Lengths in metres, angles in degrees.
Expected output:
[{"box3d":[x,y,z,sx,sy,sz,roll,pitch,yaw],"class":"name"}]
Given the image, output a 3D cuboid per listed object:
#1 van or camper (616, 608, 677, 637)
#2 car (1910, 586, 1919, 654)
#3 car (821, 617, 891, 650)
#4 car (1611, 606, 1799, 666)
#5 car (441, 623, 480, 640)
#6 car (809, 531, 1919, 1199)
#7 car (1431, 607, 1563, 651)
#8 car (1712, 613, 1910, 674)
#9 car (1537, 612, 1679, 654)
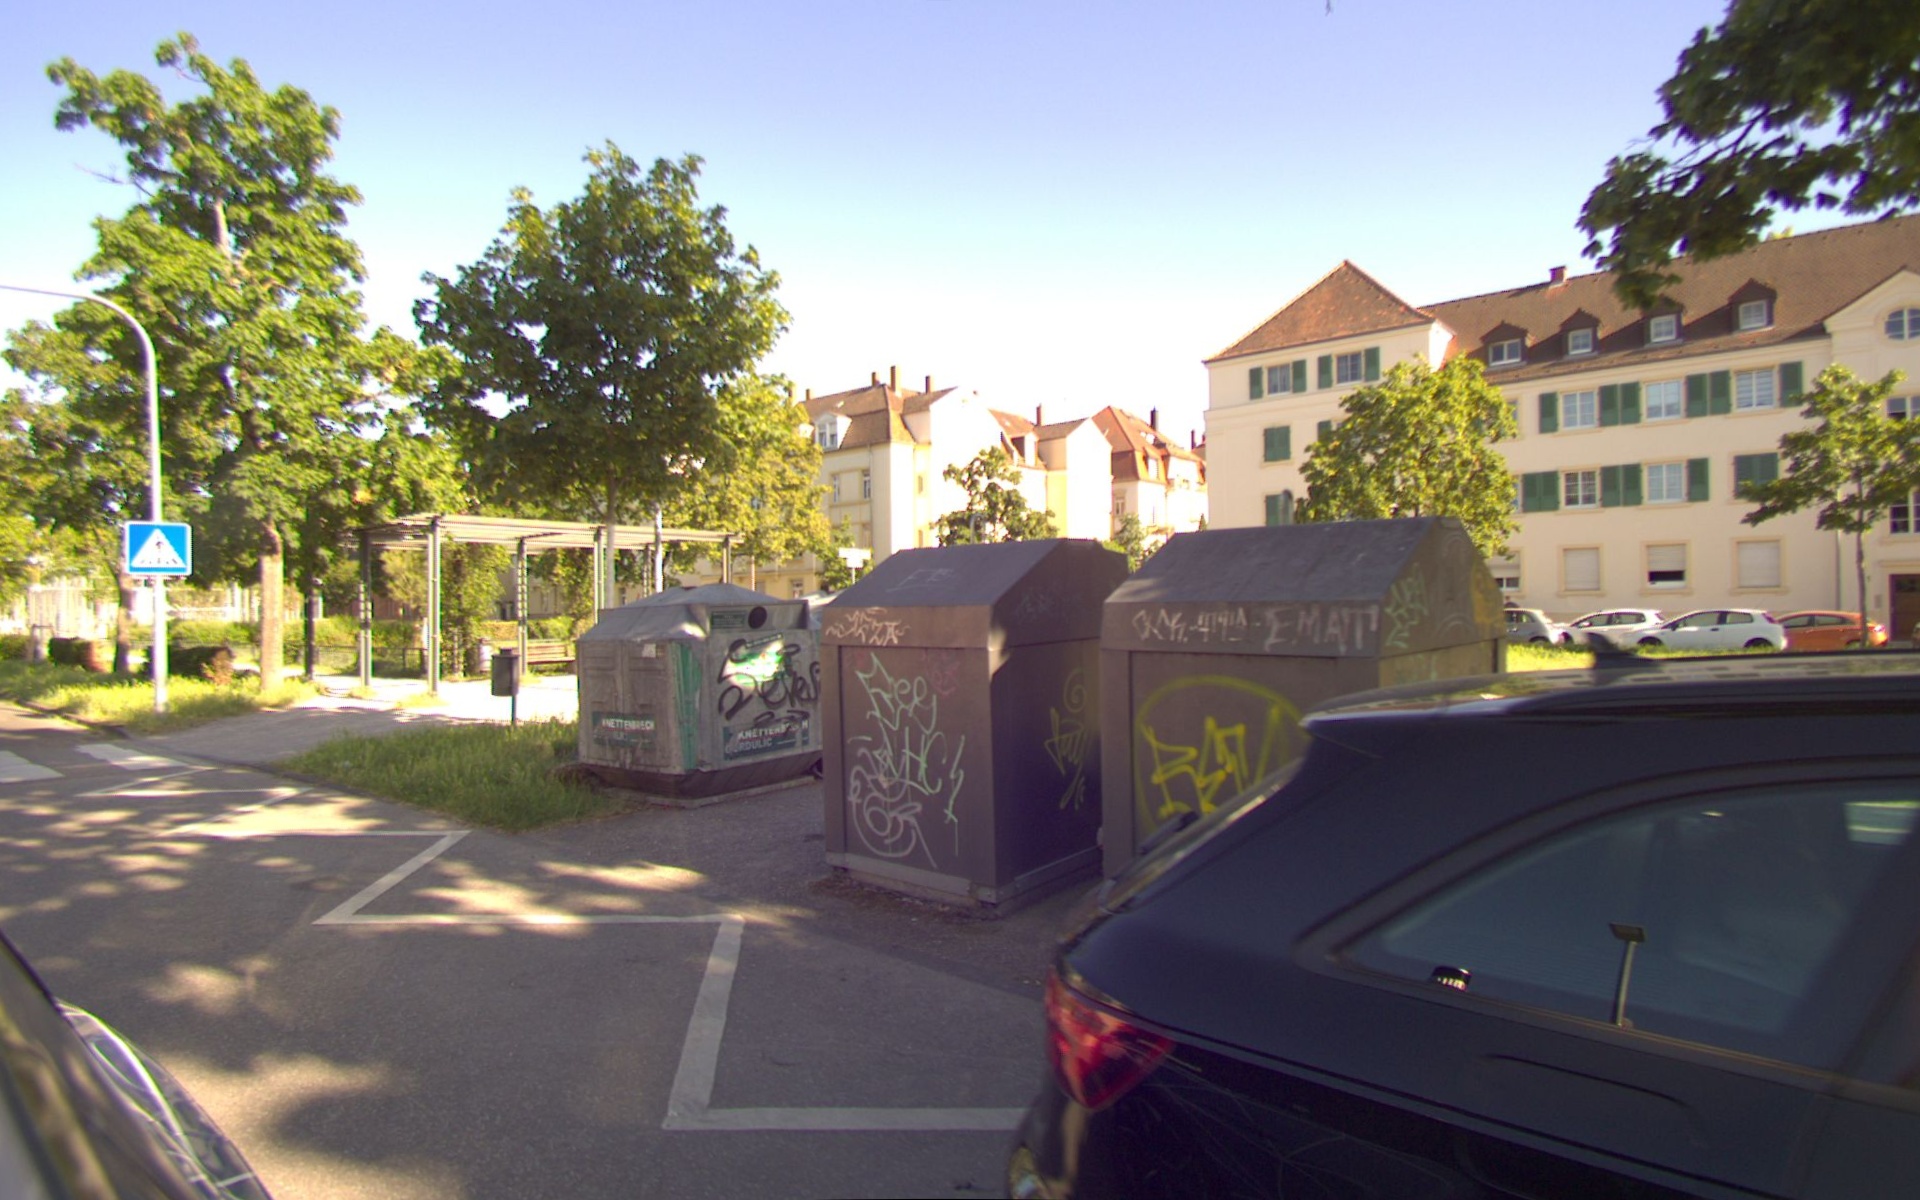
[{"box3d":[-22.714,1.640,73.299,4.371,2.029,2.244,-1,-1,40],"class":"van or camper"},{"box3d":[30.776,0.537,28.747,5.250,1.999,2.199,-2,-1,38],"class":"car"},{"box3d":[-6.116,1.945,59.290,3.998,1.807,1.930,-2,-1,41],"class":"car"},{"box3d":[21.440,1.018,29.245,4.231,1.595,1.771,-2,-1,39],"class":"car"},{"box3d":[-45.532,2.838,92.192,3.998,1.464,1.821,-2,-1,41],"class":"car"},{"box3d":[2.263,0.659,0.811,4.961,1.463,1.818,-1,-1,38],"class":"car"},{"box3d":[17.243,0.915,32.558,3.511,1.343,1.634,-2,-1,39],"class":"car"},{"box3d":[26.727,1.339,32.037,4.638,1.777,1.975,-2,-1,38],"class":"car"},{"box3d":[22.651,1.142,35.422,3.996,1.366,1.751,-2,-1,39],"class":"car"}]
